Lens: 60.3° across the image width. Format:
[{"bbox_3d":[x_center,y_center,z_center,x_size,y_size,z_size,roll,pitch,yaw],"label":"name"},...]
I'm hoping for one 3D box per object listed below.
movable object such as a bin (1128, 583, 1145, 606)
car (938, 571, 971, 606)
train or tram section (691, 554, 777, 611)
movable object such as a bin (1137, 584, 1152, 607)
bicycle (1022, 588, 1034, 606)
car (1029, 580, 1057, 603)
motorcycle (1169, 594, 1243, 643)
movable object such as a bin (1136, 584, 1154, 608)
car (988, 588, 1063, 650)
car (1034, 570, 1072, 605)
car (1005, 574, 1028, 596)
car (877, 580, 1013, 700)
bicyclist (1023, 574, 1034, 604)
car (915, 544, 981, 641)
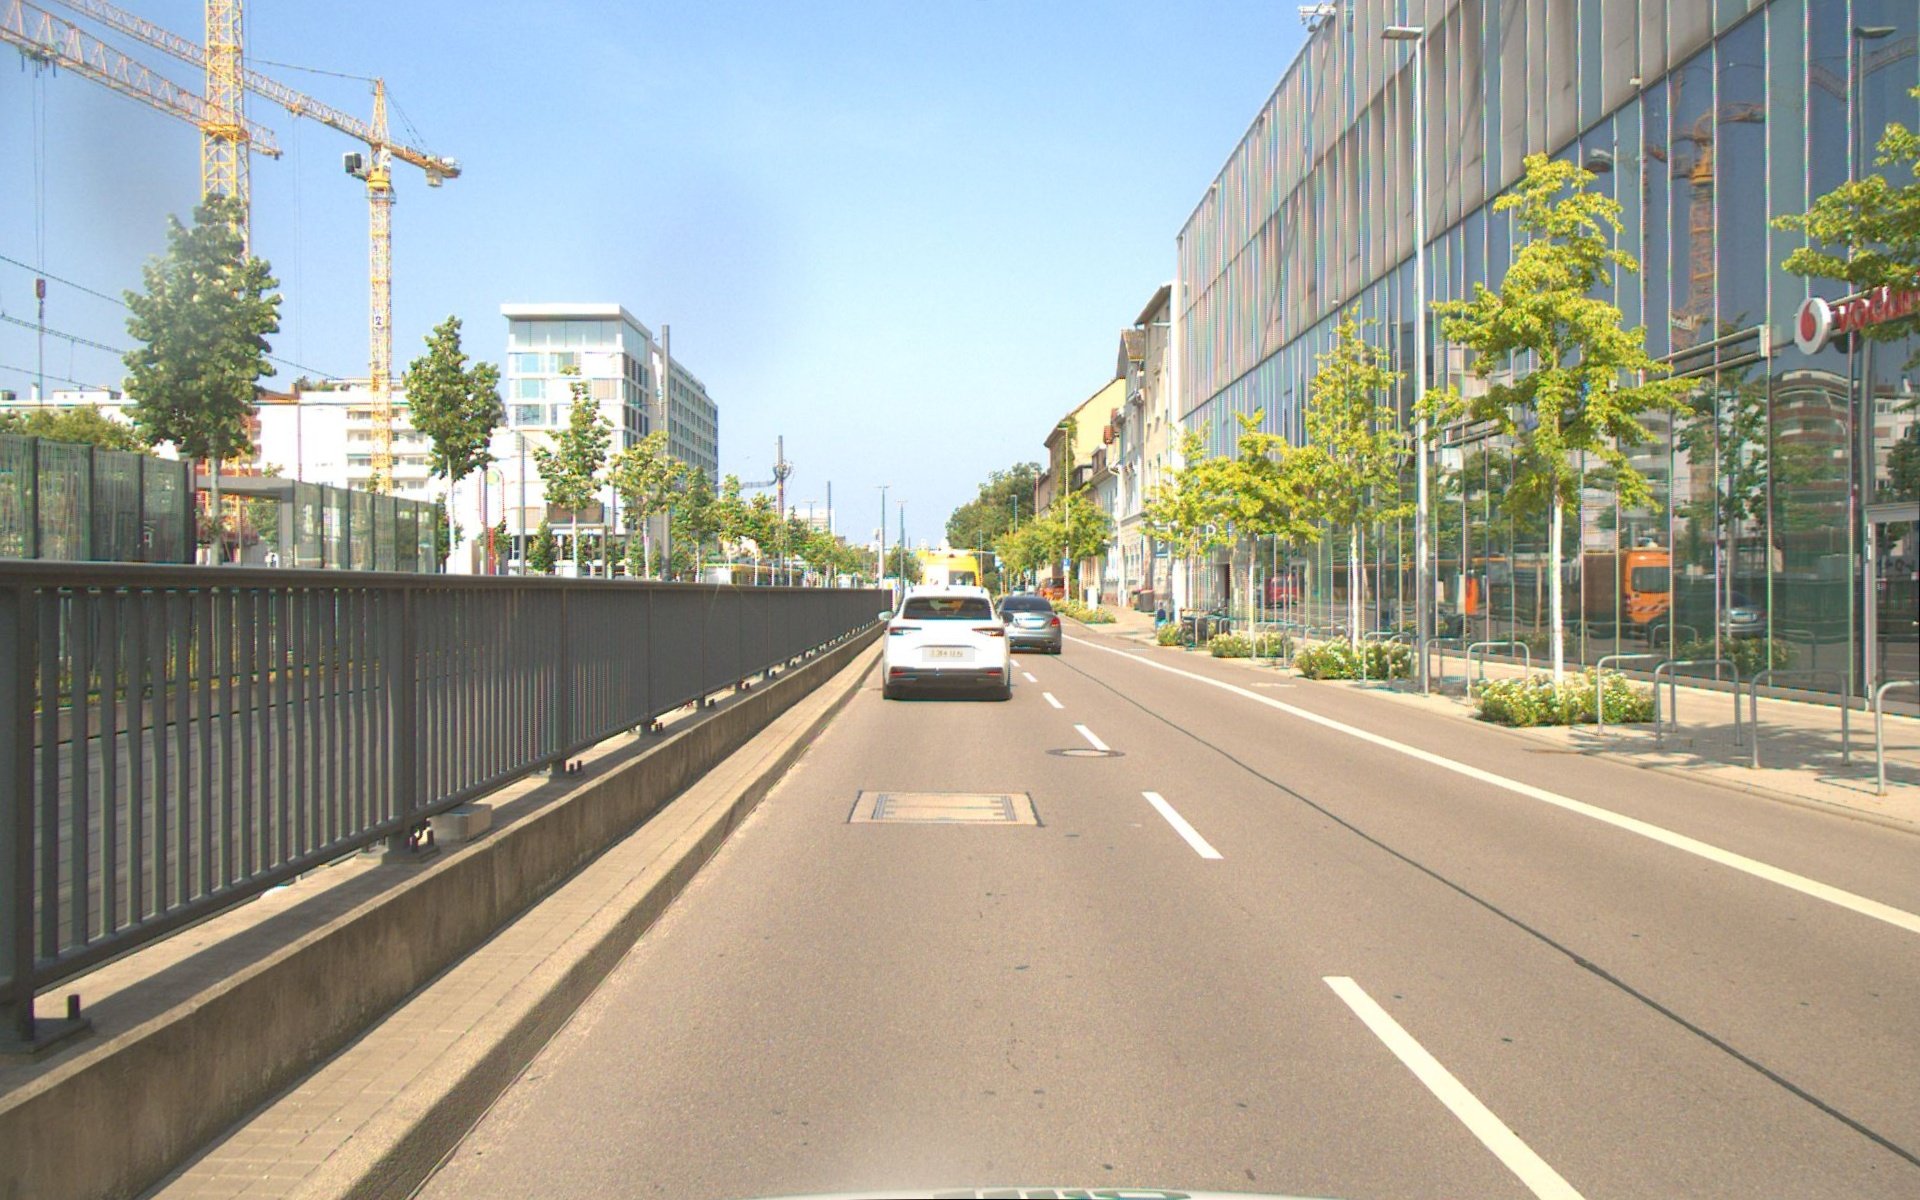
[{"bbox_3d":[9.350,-0.305,87.442,0.666,1.172,0.607,-2,3,-45],"label":"movable object such as a bin"},{"bbox_3d":[-0.351,-0.702,102.271,1.953,2.049,3.999,1,0,-1],"label":"car"},{"bbox_3d":[-16.109,-1.210,119.650,2.845,3.740,18.143,1,0,2],"label":"train or tram section"},{"bbox_3d":[9.485,-0.228,84.993,0.690,1.172,0.671,0,2,-1],"label":"movable object such as a bin"},{"bbox_3d":[3.718,-0.170,90.168,0.642,0.955,1.517,0,1,2],"label":"bicycle"},{"bbox_3d":[5.789,-0.579,115.420,1.639,1.509,4.311,-2,0,-1],"label":"car"},{"bbox_3d":[7.074,0.525,47.565,1.934,1.373,0.865,-1,0,-12],"label":"motorcycle"},{"bbox_3d":[9.398,-0.192,84.021,0.765,1.192,0.808,0,2,-1],"label":"movable object such as a bin"},{"bbox_3d":[1.650,0.451,42.658,1.724,1.461,4.115,1,1,0],"label":"car"},{"bbox_3d":[5.706,-0.786,101.914,2.021,2.048,4.588,0,1,-1],"label":"car"},{"bbox_3d":[4.950,-1.341,145.448,1.775,1.844,3.835,0,1,-1],"label":"car"},{"bbox_3d":[-0.207,0.514,24.400,1.831,1.602,4.000,0,1,0],"label":"car"},{"bbox_3d":[3.726,-0.590,90.161,0.626,1.604,0.771,0,0,2],"label":"bicyclist"},{"bbox_3d":[-0.371,-0.316,52.211,1.979,2.844,5.402,0,3,0],"label":"car"}]
